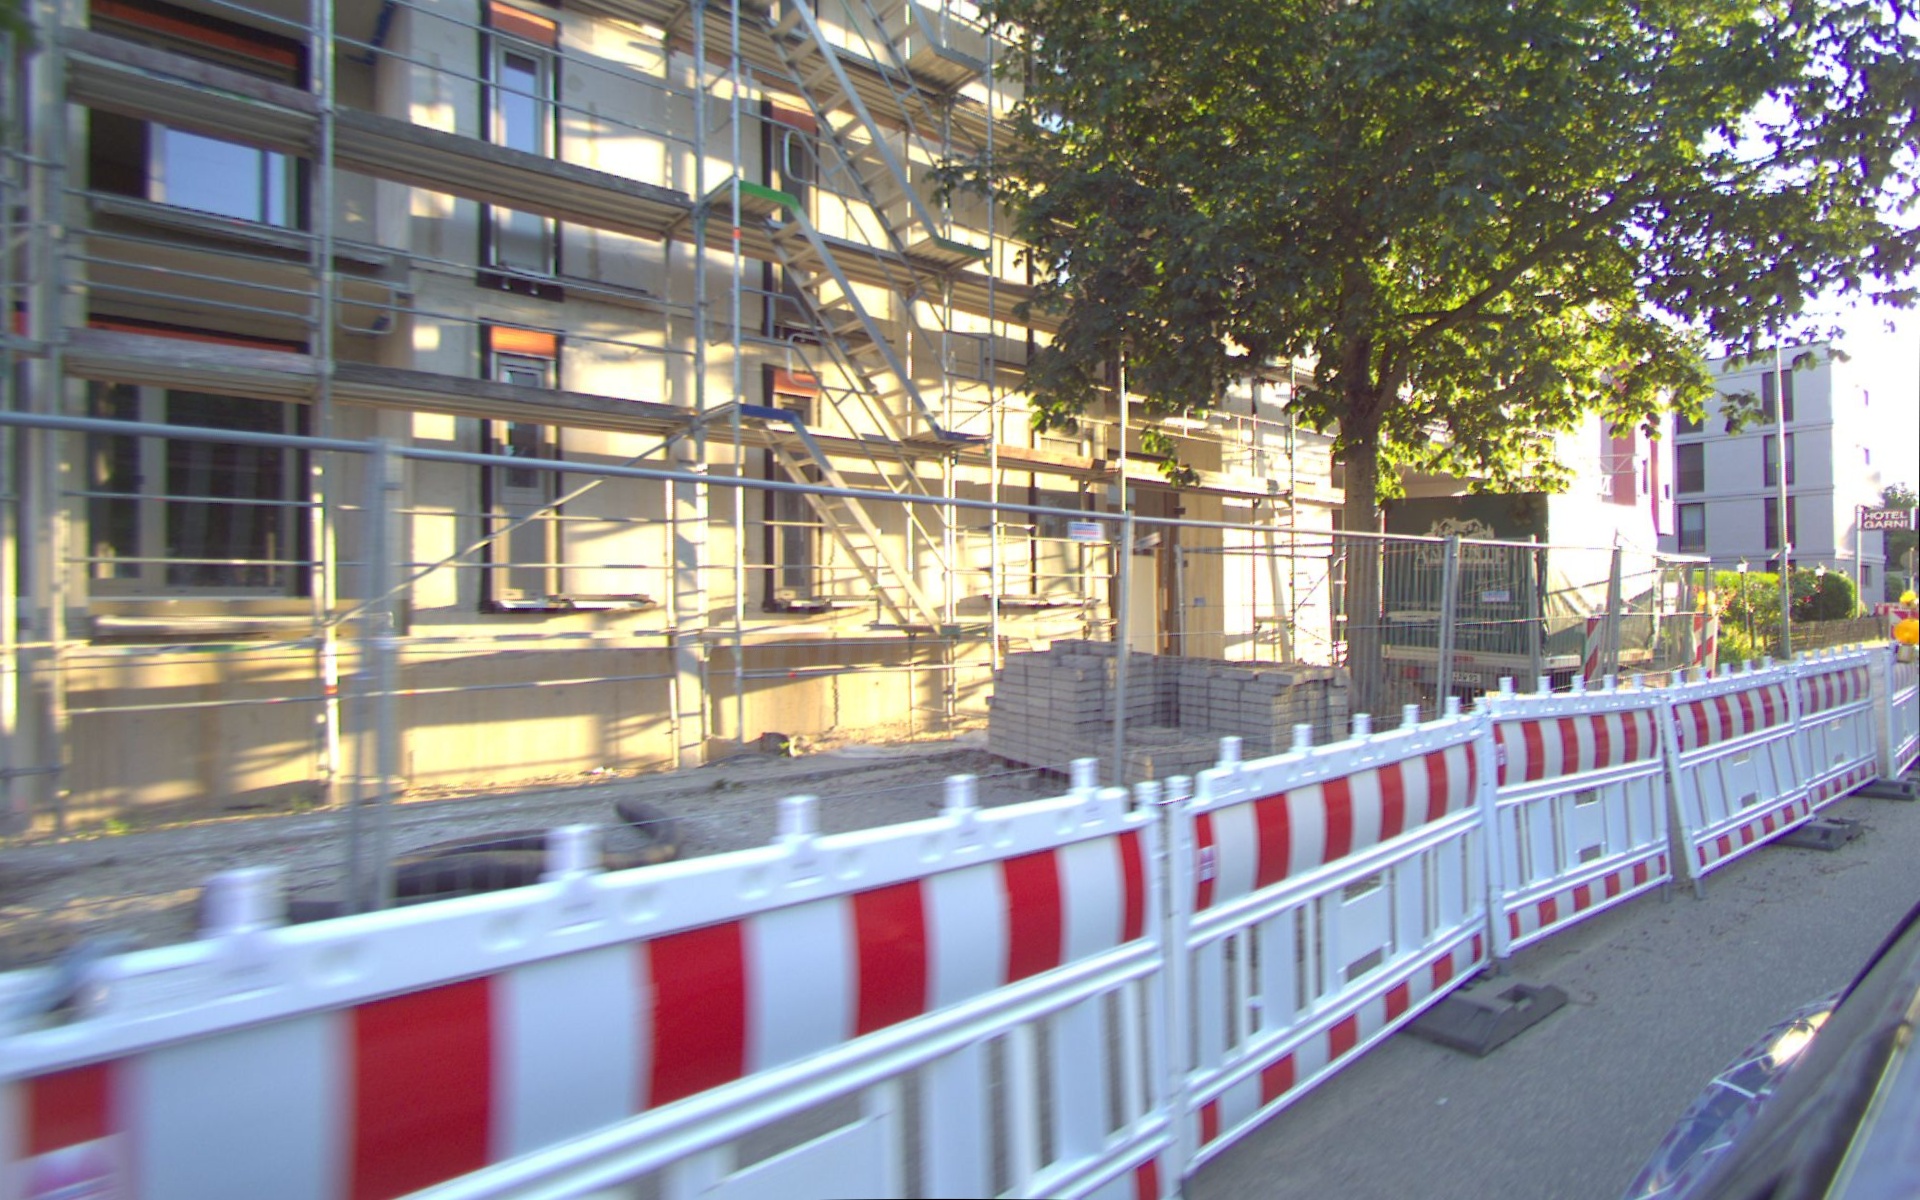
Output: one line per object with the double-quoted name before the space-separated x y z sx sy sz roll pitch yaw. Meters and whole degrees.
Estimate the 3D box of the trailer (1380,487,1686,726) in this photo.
"trailer" 7.412 0.085 12.970 4.109 2.572 1.998 0 -1 -38
